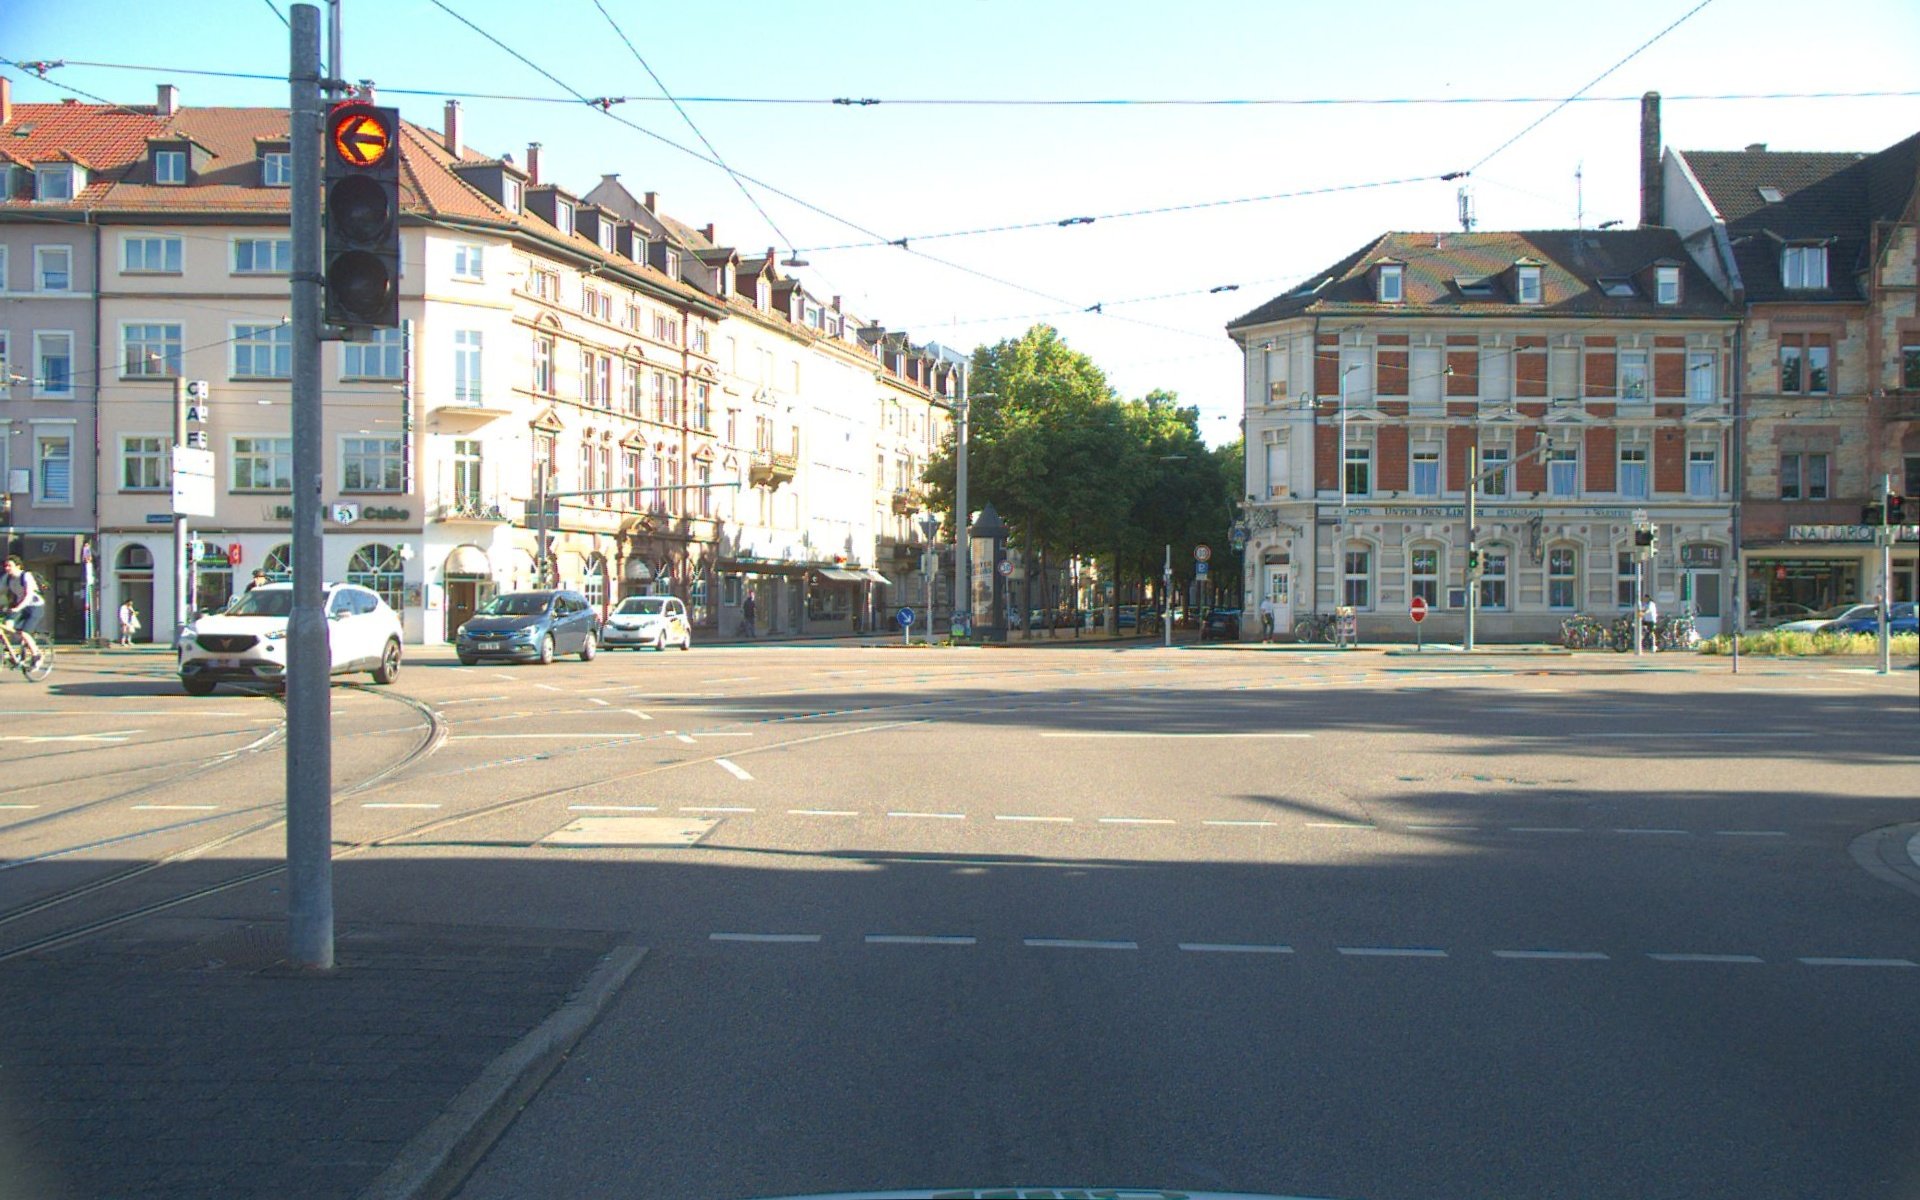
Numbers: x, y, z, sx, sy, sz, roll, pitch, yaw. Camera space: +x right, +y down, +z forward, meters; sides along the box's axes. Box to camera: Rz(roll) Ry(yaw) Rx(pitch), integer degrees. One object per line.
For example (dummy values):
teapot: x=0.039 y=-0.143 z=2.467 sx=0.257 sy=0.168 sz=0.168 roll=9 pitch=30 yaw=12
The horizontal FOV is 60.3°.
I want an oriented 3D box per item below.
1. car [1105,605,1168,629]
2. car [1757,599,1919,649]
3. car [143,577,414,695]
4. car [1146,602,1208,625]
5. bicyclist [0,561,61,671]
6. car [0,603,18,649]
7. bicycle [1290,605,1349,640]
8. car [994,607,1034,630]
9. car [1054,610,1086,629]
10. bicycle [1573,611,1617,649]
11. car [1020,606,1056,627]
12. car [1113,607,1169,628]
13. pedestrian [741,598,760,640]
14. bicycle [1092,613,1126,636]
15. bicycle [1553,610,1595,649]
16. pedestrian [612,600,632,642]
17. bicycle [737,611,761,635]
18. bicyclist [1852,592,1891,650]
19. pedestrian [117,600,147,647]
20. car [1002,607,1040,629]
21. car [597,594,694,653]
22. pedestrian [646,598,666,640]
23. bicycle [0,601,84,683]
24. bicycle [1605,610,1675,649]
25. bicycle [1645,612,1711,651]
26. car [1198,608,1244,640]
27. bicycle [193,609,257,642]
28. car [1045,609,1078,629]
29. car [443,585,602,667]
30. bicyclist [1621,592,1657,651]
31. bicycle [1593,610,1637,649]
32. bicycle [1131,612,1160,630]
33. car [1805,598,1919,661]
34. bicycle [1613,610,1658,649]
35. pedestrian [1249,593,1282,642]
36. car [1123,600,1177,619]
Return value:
car: x=12.339 y=1.178 z=115.649 sx=3.910 sy=1.572 sz=1.998 roll=0 pitch=0 yaw=28
car: x=25.961 y=0.708 z=48.929 sx=3.906 sy=1.437 sz=1.845 roll=0 pitch=0 yaw=-2
car: x=-9.567 y=0.458 z=23.642 sx=1.952 sy=1.523 sz=4.348 roll=0 pitch=0 yaw=2
car: x=15.298 y=0.953 z=116.527 sx=3.913 sy=1.572 sz=1.996 roll=0 pitch=0 yaw=30
bicyclist: x=-13.980 y=0.227 z=24.498 sx=0.699 sy=1.587 sz=0.987 roll=0 pitch=0 yaw=12
car: x=-32.484 y=0.826 z=52.131 sx=4.547 sy=1.465 sz=1.743 roll=0 pitch=-1 yaw=-4
bicycle: x=12.453 y=0.790 z=57.337 sx=1.919 sy=1.211 sz=0.546 roll=0 pitch=0 yaw=4
car: x=3.699 y=1.231 z=112.894 sx=1.951 sy=1.523 sz=4.037 roll=0 pitch=0 yaw=13
car: x=9.109 y=1.613 z=136.629 sx=1.951 sy=1.523 sz=4.037 roll=0 pitch=0 yaw=13
bicycle: x=20.515 y=0.957 z=53.470 sx=0.663 sy=1.211 sz=1.967 roll=0 pitch=0 yaw=0
car: x=5.790 y=1.216 z=122.648 sx=1.951 sy=1.523 sz=4.037 roll=0 pitch=0 yaw=13
car: x=14.065 y=1.324 z=128.482 sx=3.910 sy=1.572 sz=1.998 roll=0 pitch=0 yaw=28
pedestrian: x=-9.771 y=0.871 z=77.141 sx=0.667 sy=1.942 sz=0.633 roll=0 pitch=0 yaw=15
bicycle: x=7.462 y=1.228 z=82.837 sx=0.577 sy=1.086 sz=1.924 roll=0 pitch=0 yaw=-37
bicycle: x=19.826 y=0.930 z=53.433 sx=0.663 sy=1.211 sz=1.967 roll=0 pitch=0 yaw=0
pedestrian: x=-13.333 y=0.829 z=65.255 sx=0.614 sy=1.670 sz=0.538 roll=0 pitch=0 yaw=17
bicycle: x=-10.138 y=1.095 z=79.365 sx=0.484 sy=1.086 sz=1.771 roll=0 pitch=0 yaw=15
bicyclist: x=28.526 y=0.657 z=51.785 sx=0.885 sy=1.795 sz=0.601 roll=0 pitch=0 yaw=-5
pedestrian: x=-27.513 y=0.775 z=54.956 sx=0.645 sy=1.551 sz=0.695 roll=0 pitch=0 yaw=-4
car: x=4.362 y=1.264 z=117.046 sx=1.951 sy=1.523 sz=4.037 roll=0 pitch=0 yaw=13
car: x=-8.531 y=0.609 z=45.098 sx=1.681 sy=1.523 sz=3.586 roll=0 pitch=0 yaw=5
pedestrian: x=-12.024 y=0.743 z=65.339 sx=0.539 sy=1.670 sz=0.633 roll=0 pitch=0 yaw=18
bicycle: x=-13.954 y=0.608 z=24.513 sx=0.474 sy=1.186 sz=2.058 roll=0 pitch=0 yaw=13
bicycle: x=21.056 y=0.906 z=51.222 sx=1.920 sy=1.211 sz=0.602 roll=0 pitch=0 yaw=2
bicycle: x=23.037 y=1.005 z=53.103 sx=1.926 sy=1.211 sz=0.677 roll=0 pitch=0 yaw=-13
car: x=13.068 y=1.165 z=82.580 sx=1.951 sy=1.523 sz=4.037 roll=0 pitch=0 yaw=13
bicycle: x=-24.959 y=0.855 z=56.168 sx=1.906 sy=1.086 sz=0.582 roll=0 pitch=0 yaw=-8
car: x=8.139 y=1.499 z=131.875 sx=1.951 sy=1.523 sz=4.037 roll=0 pitch=0 yaw=13
car: x=-8.721 y=0.482 z=33.371 sx=1.736 sy=1.523 sz=4.575 roll=0 pitch=0 yaw=4
bicyclist: x=21.025 y=0.663 z=51.216 sx=0.854 sy=1.795 sz=0.602 roll=0 pitch=0 yaw=2
bicycle: x=21.154 y=0.940 z=53.480 sx=0.663 sy=1.211 sz=1.967 roll=0 pitch=0 yaw=0
bicycle: x=11.159 y=1.269 z=99.384 sx=0.577 sy=1.086 sz=1.924 roll=0 pitch=0 yaw=-37
car: x=25.909 y=0.797 z=45.933 sx=3.906 sy=1.697 sz=1.954 roll=0 pitch=0 yaw=-2
bicycle: x=21.816 y=0.936 z=53.483 sx=0.663 sy=1.211 sz=1.967 roll=0 pitch=0 yaw=0
pedestrian: x=10.731 y=0.613 z=58.102 sx=0.923 sy=1.699 sz=0.713 roll=0 pitch=0 yaw=44
car: x=15.494 y=0.773 z=134.623 sx=3.910 sy=1.572 sz=1.998 roll=0 pitch=0 yaw=28
